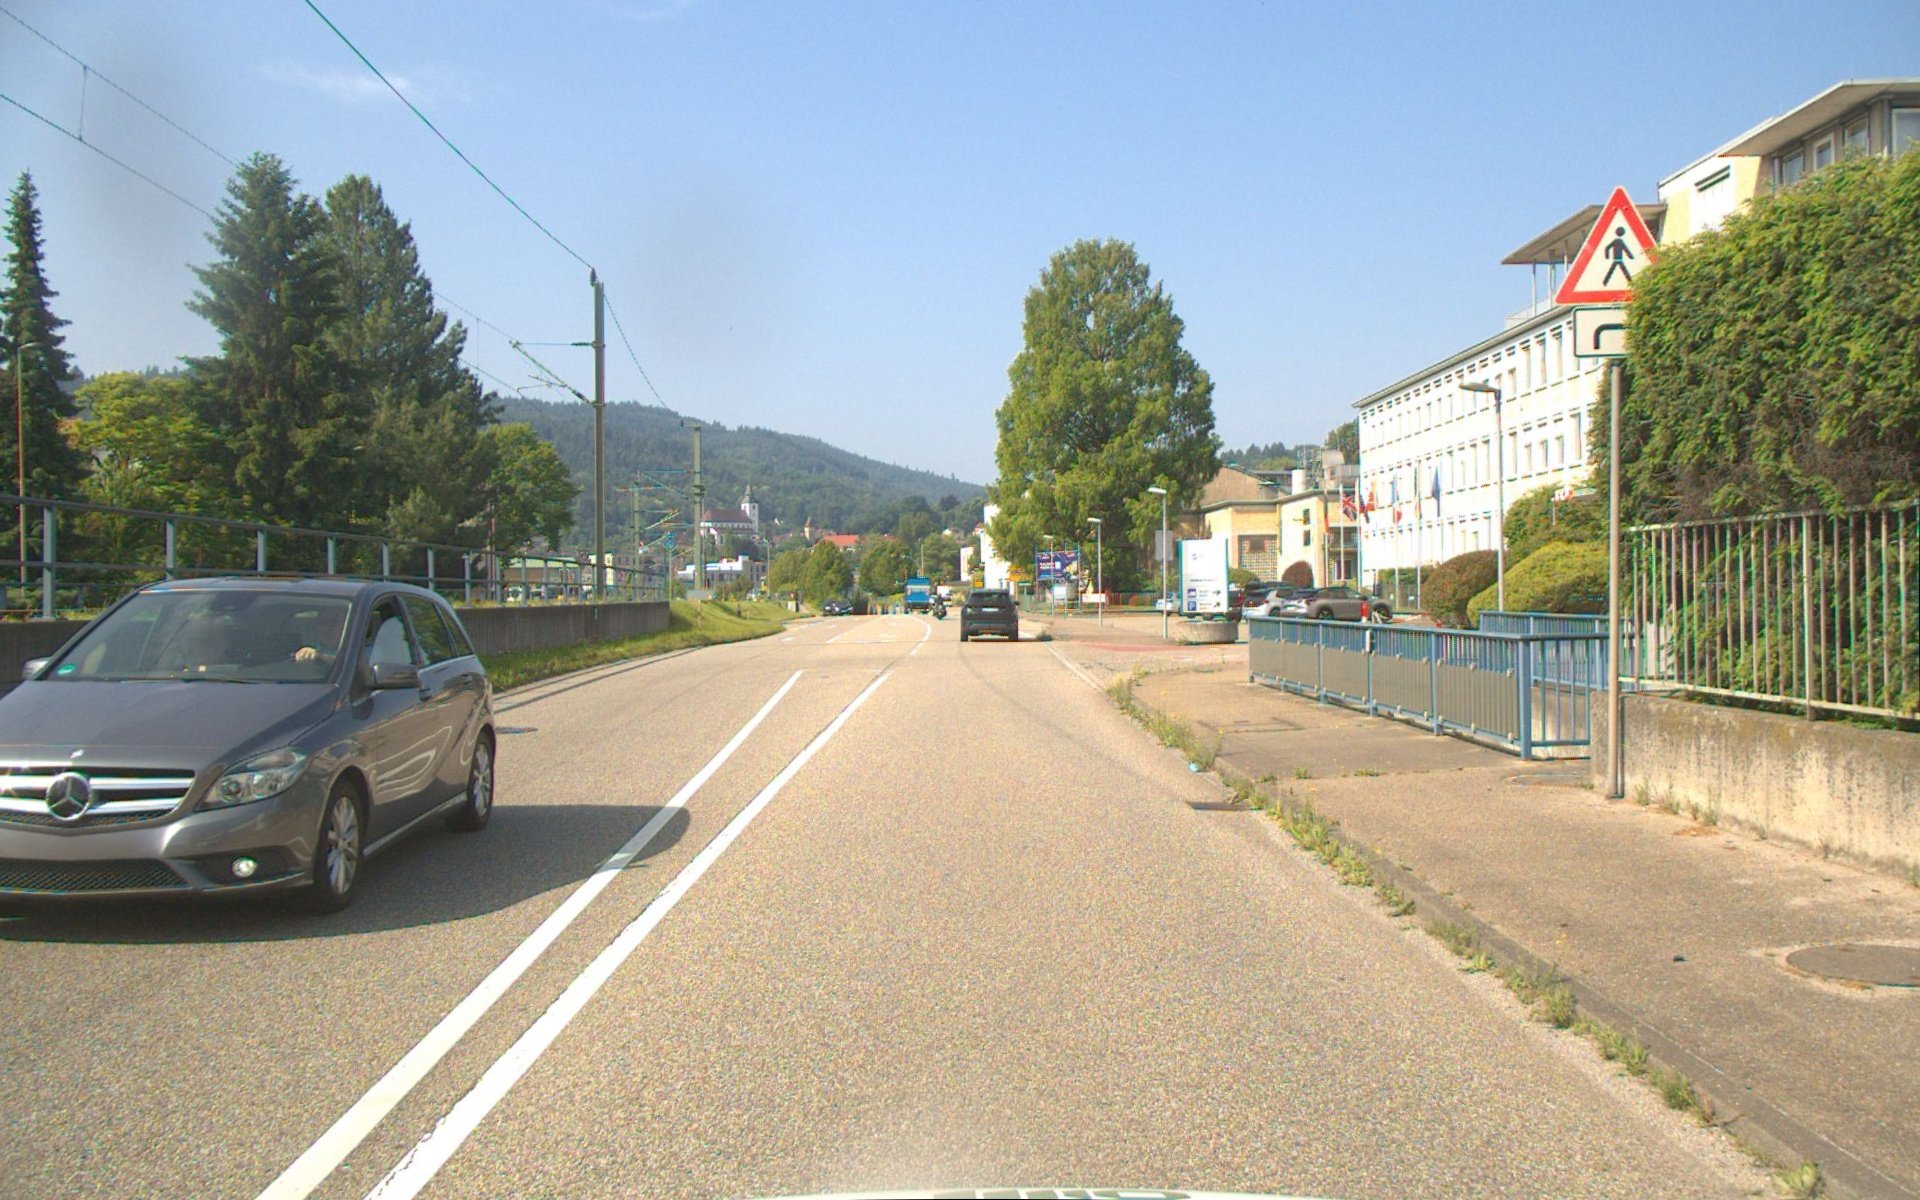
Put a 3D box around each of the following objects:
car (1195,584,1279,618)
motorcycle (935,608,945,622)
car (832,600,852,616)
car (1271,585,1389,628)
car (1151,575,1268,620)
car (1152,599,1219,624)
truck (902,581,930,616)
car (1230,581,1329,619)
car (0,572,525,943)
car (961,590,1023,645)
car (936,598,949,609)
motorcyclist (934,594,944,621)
[{"bbox_3d":[14.475,0.023,86.278,4.117,1.701,1.851,-1,0,-31],"label":"car"},{"bbox_3d":[-1.183,0.874,96.818,0.594,0.766,1.414,-1,0,-1],"label":"motorcycle"},{"bbox_3d":[-10.702,0.710,150.429,1.720,1.454,3.997,-1,0,-3],"label":"car"},{"bbox_3d":[14.042,0.239,62.713,4.252,1.531,1.868,-1,0,-30],"label":"car"},{"bbox_3d":[10.975,-0.125,72.717,4.967,1.864,1.963,-1,0,-30],"label":"car"},{"bbox_3d":[13.634,0.663,99.941,3.948,1.425,1.646,-1,0,-32],"label":"car"},{"bbox_3d":[-3.988,-0.169,147.727,2.267,3.022,5.962,-1,1,-3],"label":"truck"},{"bbox_3d":[13.785,0.001,71.245,3.944,1.531,1.868,-1,0,-30],"label":"car"},{"bbox_3d":[-3.698,0.652,8.996,1.707,1.533,4.198,-1,0,-3],"label":"car"},{"bbox_3d":[1.008,0.526,53.058,1.880,1.668,4.000,-1,0,1],"label":"car"},{"bbox_3d":[-2.344,0.505,221.518,1.730,1.512,4.000,0,0,0],"label":"car"},{"bbox_3d":[-1.224,0.423,96.780,0.594,1.547,0.863,-1,0,-1],"label":"motorcyclist"}]
